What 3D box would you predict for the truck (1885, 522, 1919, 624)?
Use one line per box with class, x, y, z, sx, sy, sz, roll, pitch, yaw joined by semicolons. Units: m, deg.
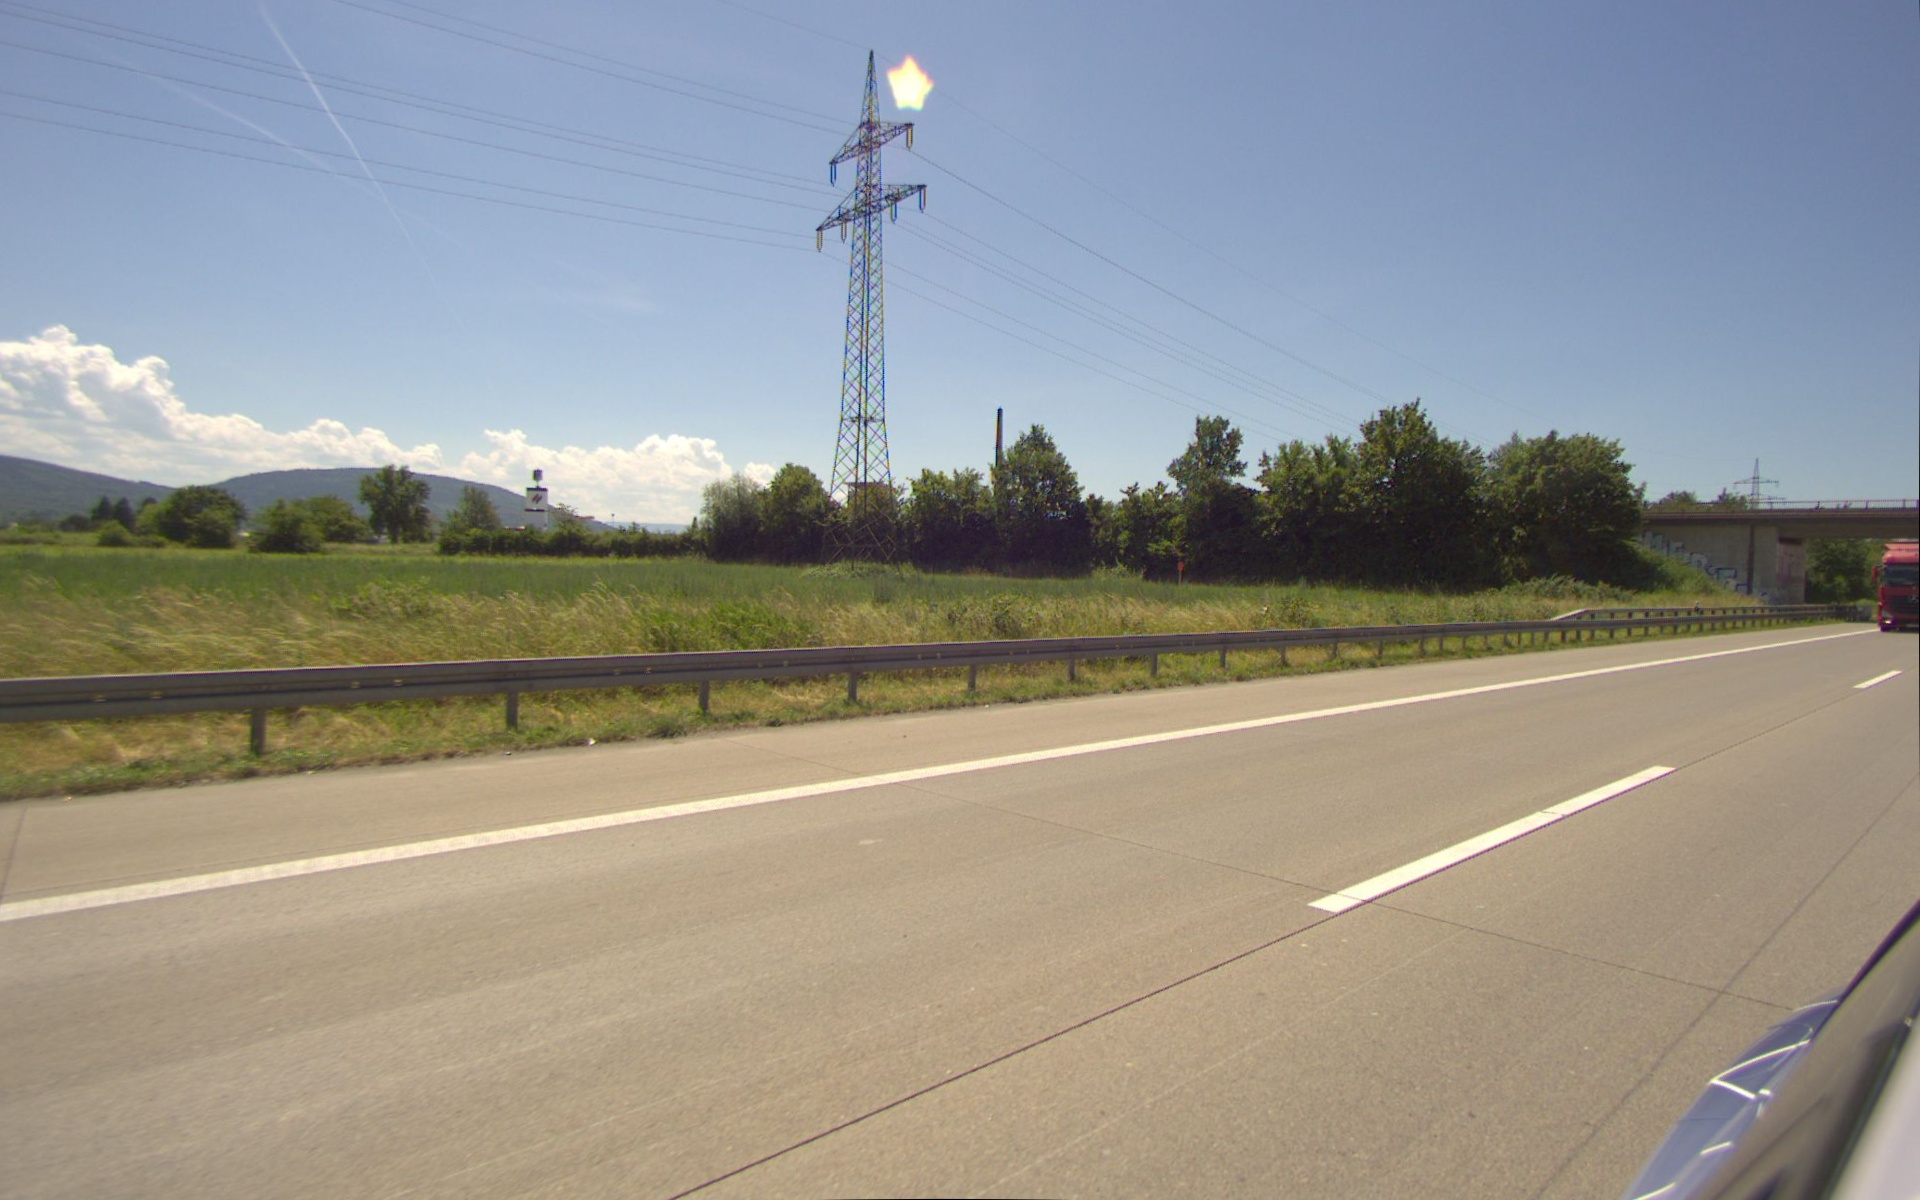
truck;45.214;-1.183;46.531;10.697;4.377;2.853;-1;0;-41
